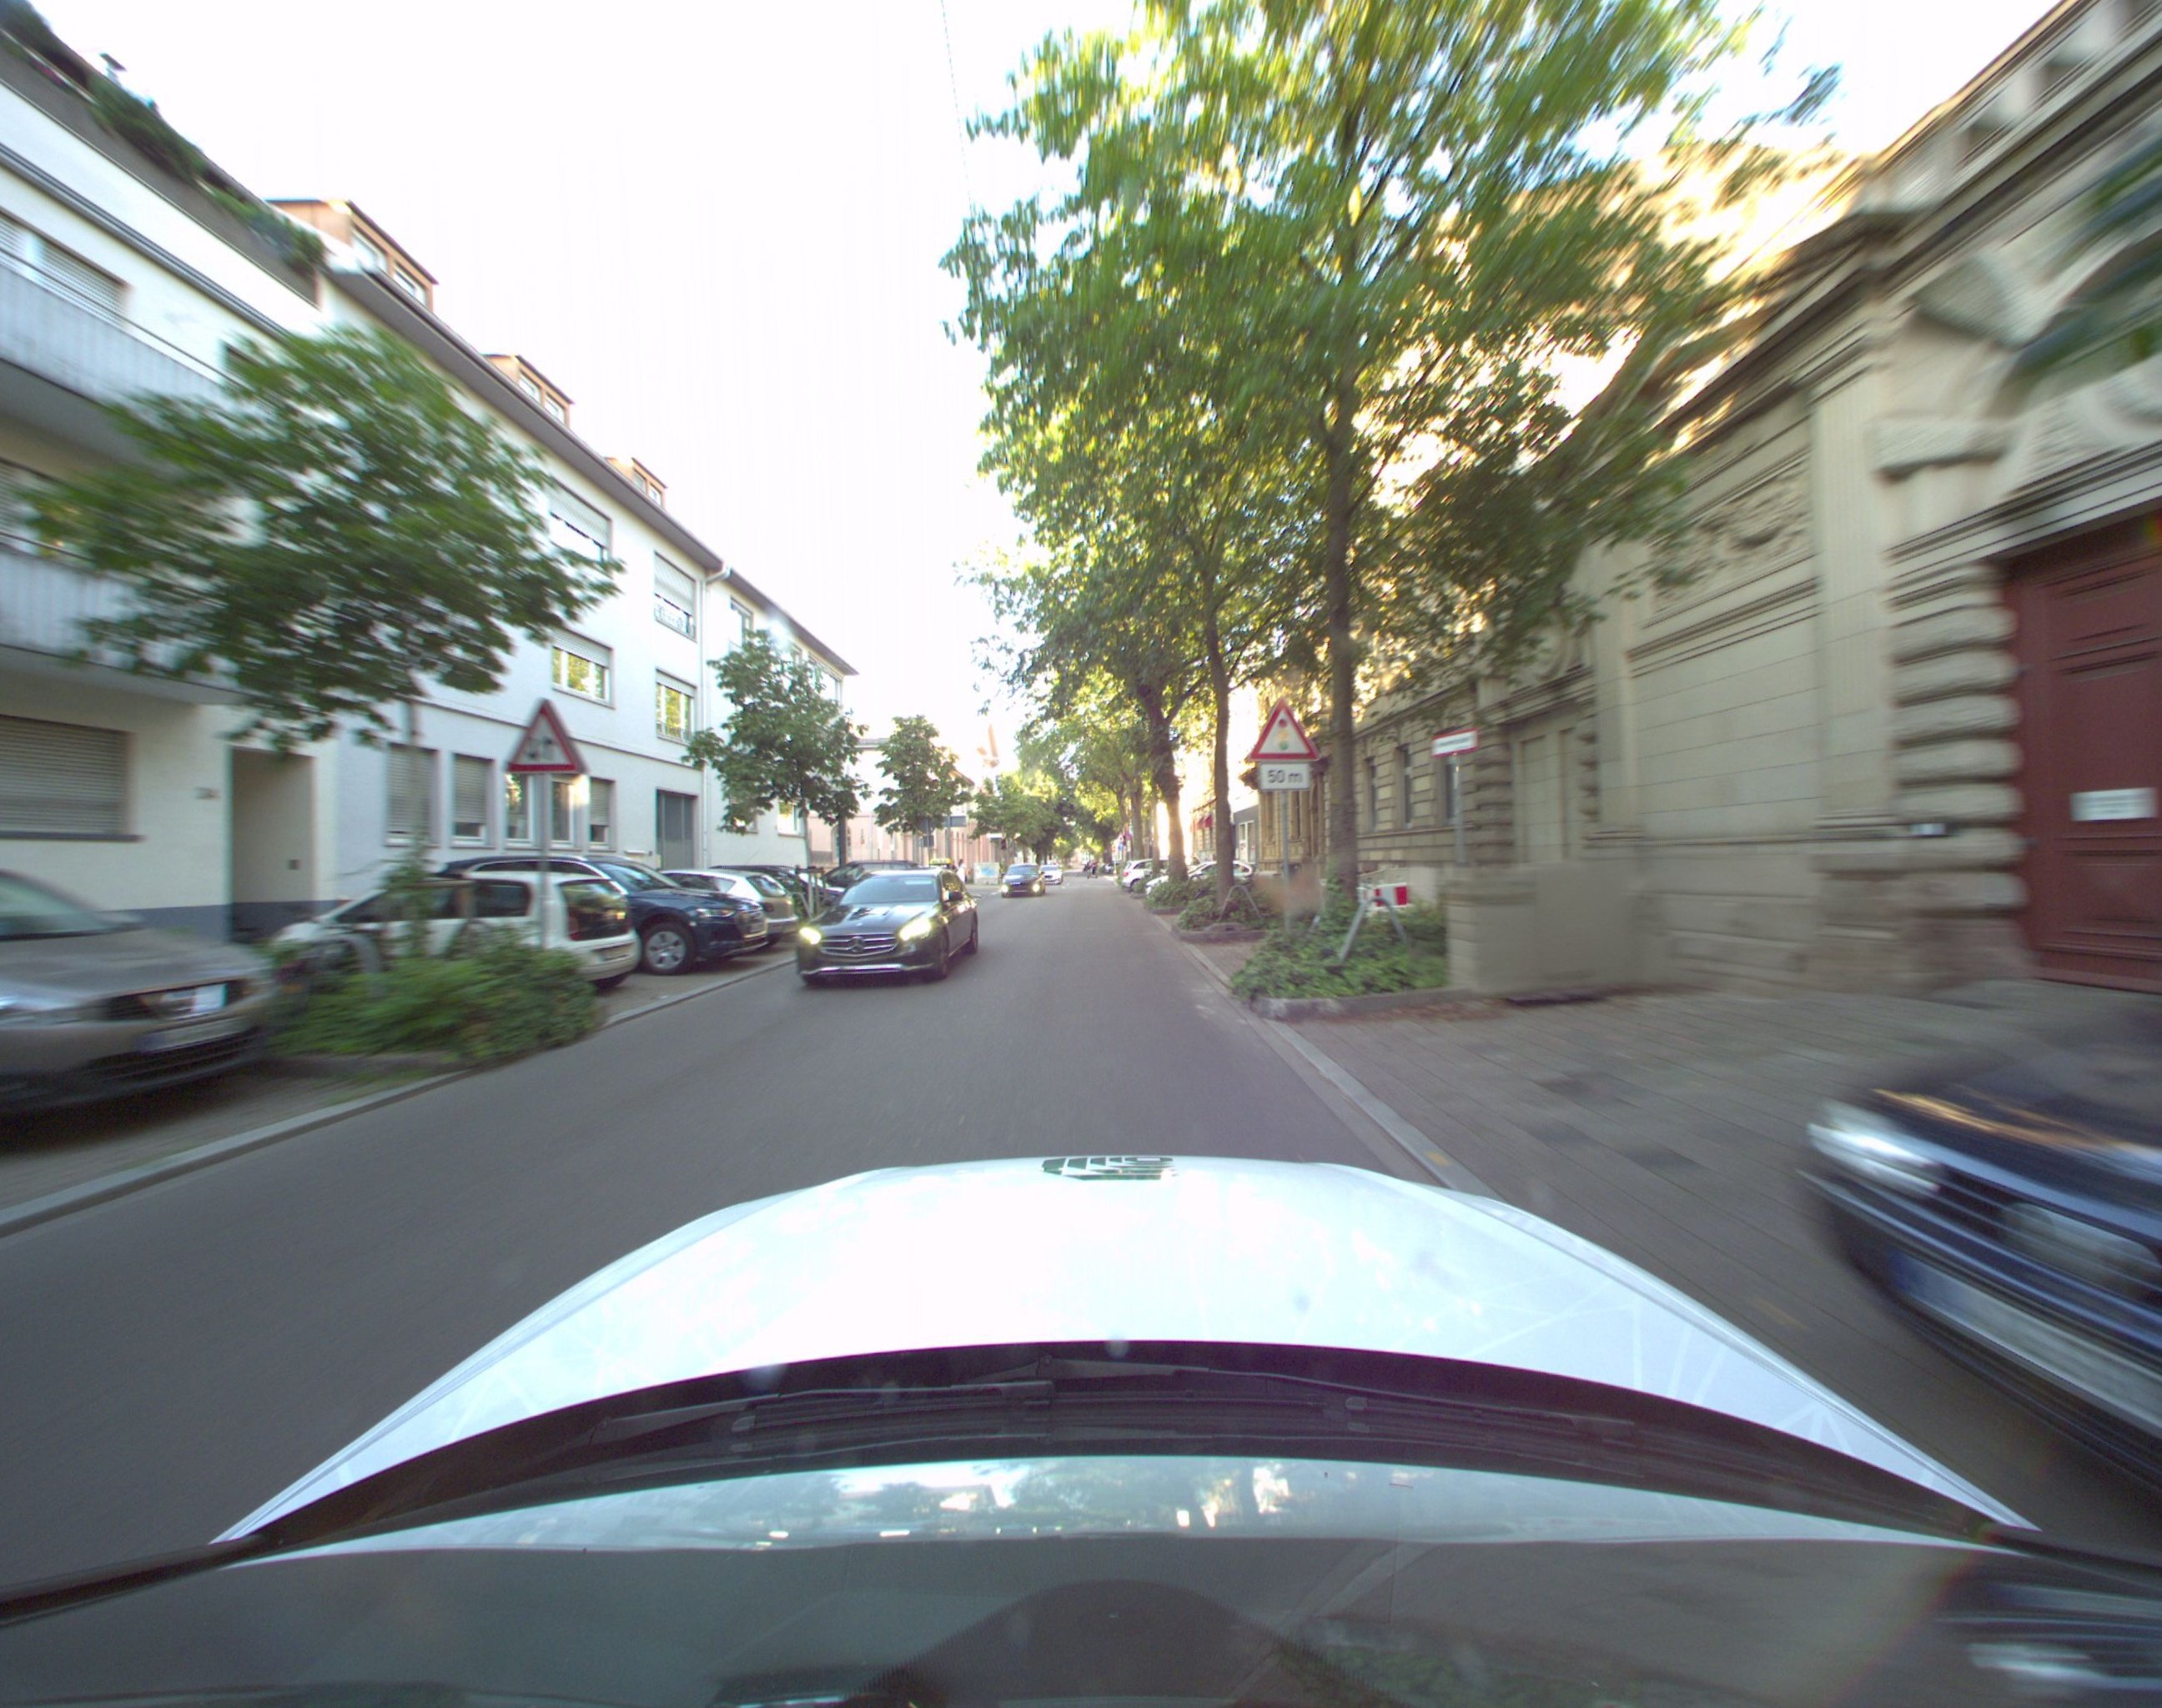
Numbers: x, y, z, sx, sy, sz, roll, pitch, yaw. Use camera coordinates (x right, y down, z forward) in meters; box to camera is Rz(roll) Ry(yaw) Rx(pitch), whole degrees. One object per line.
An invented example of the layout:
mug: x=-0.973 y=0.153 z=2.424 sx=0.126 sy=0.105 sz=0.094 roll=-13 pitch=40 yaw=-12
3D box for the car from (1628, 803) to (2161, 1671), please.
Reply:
car: x=3.932 y=0.536 z=1.744 sx=4.210 sy=1.481 sz=1.854 roll=-4 pitch=-1 yaw=0

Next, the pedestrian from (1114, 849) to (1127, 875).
pedestrian: x=3.298 y=0.637 z=67.642 sx=1.039 sy=2.146 sz=1.063 roll=0 pitch=-2 yaw=1

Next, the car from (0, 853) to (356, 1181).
car: x=-7.349 y=0.791 z=4.965 sx=4.140 sy=1.591 sz=1.823 roll=1 pitch=-1 yaw=0

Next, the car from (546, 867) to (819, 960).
car: x=-7.045 y=1.013 z=14.665 sx=4.011 sy=1.494 sz=1.782 roll=1 pitch=-1 yaw=3

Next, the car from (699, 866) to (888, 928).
car: x=-7.099 y=1.033 z=20.383 sx=4.060 sy=1.440 sz=1.755 roll=0 pitch=-1 yaw=1

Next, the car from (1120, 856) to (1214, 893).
car: x=3.966 y=0.931 z=38.010 sx=4.206 sy=1.560 sz=1.972 roll=-2 pitch=0 yaw=3

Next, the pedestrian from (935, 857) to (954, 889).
pedestrian: x=-7.791 y=1.089 z=46.498 sx=0.773 sy=1.791 sz=0.785 roll=1 pitch=0 yaw=-29

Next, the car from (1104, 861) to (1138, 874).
car: x=5.088 y=1.738 z=104.196 sx=4.179 sy=1.480 sz=1.852 roll=-3 pitch=-1 yaw=0

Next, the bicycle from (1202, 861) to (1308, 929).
bicycle: x=3.526 y=0.816 z=16.564 sx=2.040 sy=1.360 sz=0.508 roll=0 pitch=-1 yaw=-2

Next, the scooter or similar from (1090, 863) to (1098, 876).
scooter or similar: x=1.182 y=1.423 z=75.672 sx=0.498 sy=1.145 sz=1.253 roll=-2 pitch=-2 yaw=11

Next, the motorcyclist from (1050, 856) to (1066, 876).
motorcyclist: x=-1.861 y=0.992 z=65.851 sx=1.276 sy=1.592 sz=1.077 roll=-1 pitch=-1 yaw=0

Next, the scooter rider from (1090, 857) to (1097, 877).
scooter rider: x=1.181 y=1.206 z=75.654 sx=0.491 sy=1.791 sz=0.877 roll=-2 pitch=-2 yaw=10

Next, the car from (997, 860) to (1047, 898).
car: x=-2.609 y=1.081 z=36.959 sx=1.871 sy=1.549 sz=4.275 roll=-2 pitch=-1 yaw=0

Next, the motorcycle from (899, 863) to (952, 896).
motorcycle: x=-7.151 y=1.162 z=37.423 sx=2.129 sy=1.419 sz=0.973 roll=-2 pitch=-1 yaw=21

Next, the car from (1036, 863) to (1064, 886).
car: x=-2.234 y=1.459 z=59.350 sx=1.871 sy=1.549 sz=4.273 roll=-2 pitch=-1 yaw=-1

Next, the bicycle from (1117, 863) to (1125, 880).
bicycle: x=3.307 y=1.404 z=66.670 sx=0.414 sy=1.372 sz=1.292 roll=-2 pitch=-1 yaw=12

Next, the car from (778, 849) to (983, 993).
car: x=-2.665 y=0.824 z=12.029 sx=1.871 sy=1.640 sz=4.644 roll=-2 pitch=-1 yaw=-1

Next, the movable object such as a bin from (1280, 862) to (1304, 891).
movable object such as a bin: x=7.807 y=0.831 z=30.159 sx=0.655 sy=1.064 sz=0.615 roll=-3 pitch=-2 yaw=0

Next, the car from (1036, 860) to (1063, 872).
car: x=-6.094 y=2.316 z=158.064 sx=5.048 sy=2.083 sz=2.262 roll=-2 pitch=-1 yaw=-1

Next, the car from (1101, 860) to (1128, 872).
car: x=5.091 y=1.814 z=125.173 sx=4.003 sy=1.623 sz=1.780 roll=-2 pitch=-1 yaw=-1

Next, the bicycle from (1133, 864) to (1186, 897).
bicycle: x=3.201 y=1.062 z=33.274 sx=2.021 sy=1.204 sz=0.486 roll=-3 pitch=-1 yaw=-13

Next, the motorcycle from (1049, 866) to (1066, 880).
motorcycle: x=-1.888 y=1.532 z=65.736 sx=1.307 sy=1.090 sz=2.396 roll=-1 pitch=-1 yaw=1

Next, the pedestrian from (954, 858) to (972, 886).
pedestrian: x=-7.352 y=1.121 z=50.654 sx=0.849 sy=1.738 sz=0.767 roll=1 pitch=-2 yaw=-43

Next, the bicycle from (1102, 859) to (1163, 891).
bicycle: x=2.687 y=1.102 z=42.810 sx=3.107 sy=1.663 sz=0.657 roll=-1 pitch=-1 yaw=-4

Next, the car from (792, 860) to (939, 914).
car: x=-6.754 y=1.024 z=25.835 sx=4.078 sy=1.632 sz=1.936 roll=0 pitch=-1 yaw=1

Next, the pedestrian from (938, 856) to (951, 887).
pedestrian: x=-8.173 y=1.061 z=48.771 sx=0.550 sy=1.850 sz=0.614 roll=-1 pitch=-1 yaw=15

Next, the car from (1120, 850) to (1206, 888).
car: x=4.522 y=0.814 z=45.625 sx=4.529 sy=1.915 sz=1.948 roll=-2 pitch=-1 yaw=-2

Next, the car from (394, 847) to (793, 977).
car: x=-7.066 y=0.802 z=12.260 sx=4.651 sy=1.765 sz=2.156 roll=0 pitch=-1 yaw=-1

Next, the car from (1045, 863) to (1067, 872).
car: x=-5.888 y=3.171 z=194.374 sx=5.046 sy=2.083 sz=2.263 roll=-2 pitch=-1 yaw=1

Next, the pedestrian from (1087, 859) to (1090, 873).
pedestrian: x=1.160 y=1.841 z=123.811 sx=0.500 sy=2.014 sz=0.621 roll=0 pitch=-2 yaw=2

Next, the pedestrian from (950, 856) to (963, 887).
pedestrian: x=-7.438 y=1.049 z=48.618 sx=0.550 sy=1.850 sz=0.614 roll=-1 pitch=-1 yaw=15

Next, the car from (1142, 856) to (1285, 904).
car: x=4.428 y=0.847 z=27.734 sx=4.566 sy=1.437 sz=1.926 roll=-2 pitch=0 yaw=2

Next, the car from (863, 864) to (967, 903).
car: x=-6.499 y=1.142 z=32.185 sx=3.730 sy=1.458 sz=1.734 roll=1 pitch=-1 yaw=-1

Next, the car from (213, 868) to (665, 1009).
car: x=-7.328 y=0.918 z=9.621 sx=3.832 sy=1.451 sz=1.855 roll=0 pitch=0 yaw=0
